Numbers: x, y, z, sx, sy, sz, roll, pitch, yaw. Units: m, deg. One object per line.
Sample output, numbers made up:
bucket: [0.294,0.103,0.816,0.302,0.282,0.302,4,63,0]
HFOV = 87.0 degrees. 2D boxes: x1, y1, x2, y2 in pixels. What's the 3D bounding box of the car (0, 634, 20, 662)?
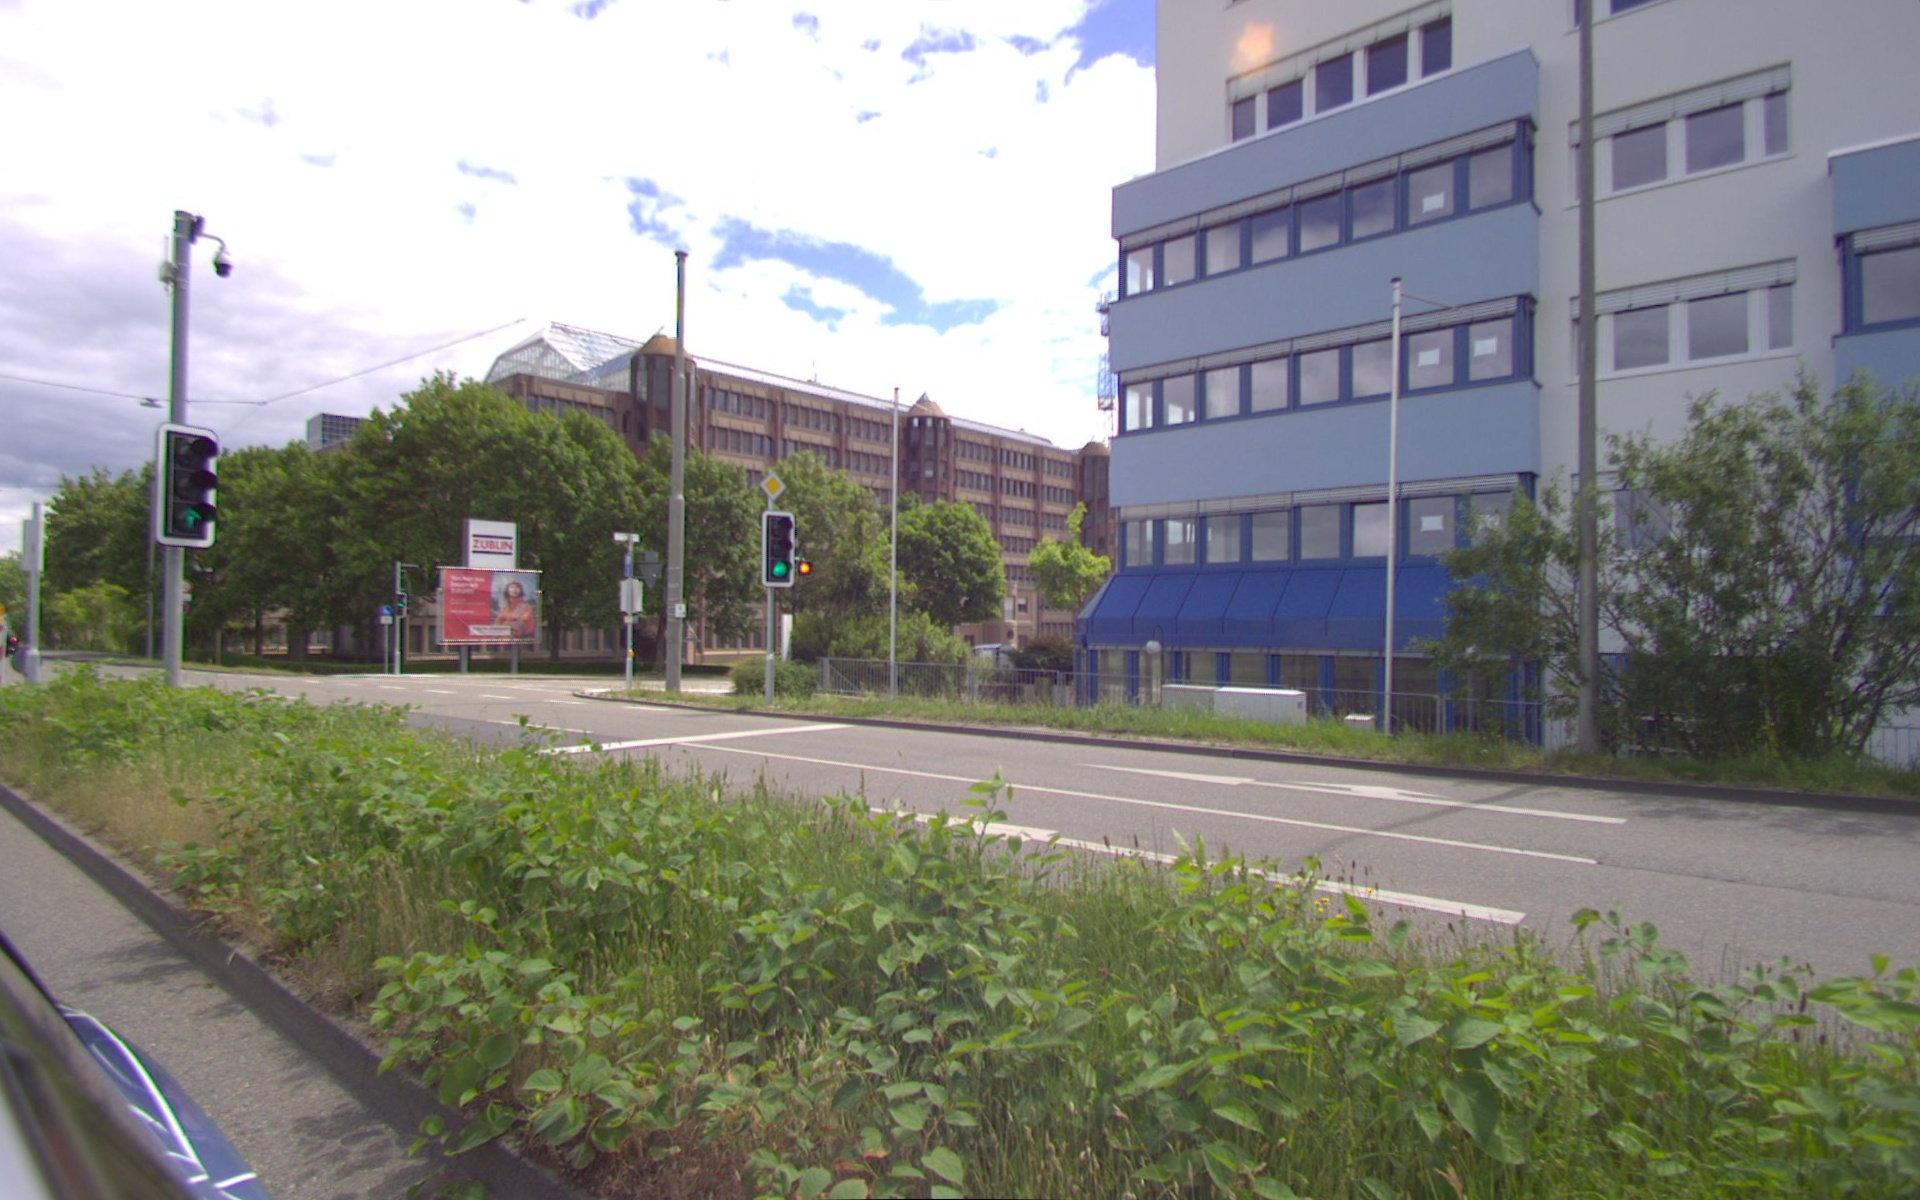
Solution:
car: [-60.059,2.951,62.908,4.759,1.715,1.972,-2,-3,42]
